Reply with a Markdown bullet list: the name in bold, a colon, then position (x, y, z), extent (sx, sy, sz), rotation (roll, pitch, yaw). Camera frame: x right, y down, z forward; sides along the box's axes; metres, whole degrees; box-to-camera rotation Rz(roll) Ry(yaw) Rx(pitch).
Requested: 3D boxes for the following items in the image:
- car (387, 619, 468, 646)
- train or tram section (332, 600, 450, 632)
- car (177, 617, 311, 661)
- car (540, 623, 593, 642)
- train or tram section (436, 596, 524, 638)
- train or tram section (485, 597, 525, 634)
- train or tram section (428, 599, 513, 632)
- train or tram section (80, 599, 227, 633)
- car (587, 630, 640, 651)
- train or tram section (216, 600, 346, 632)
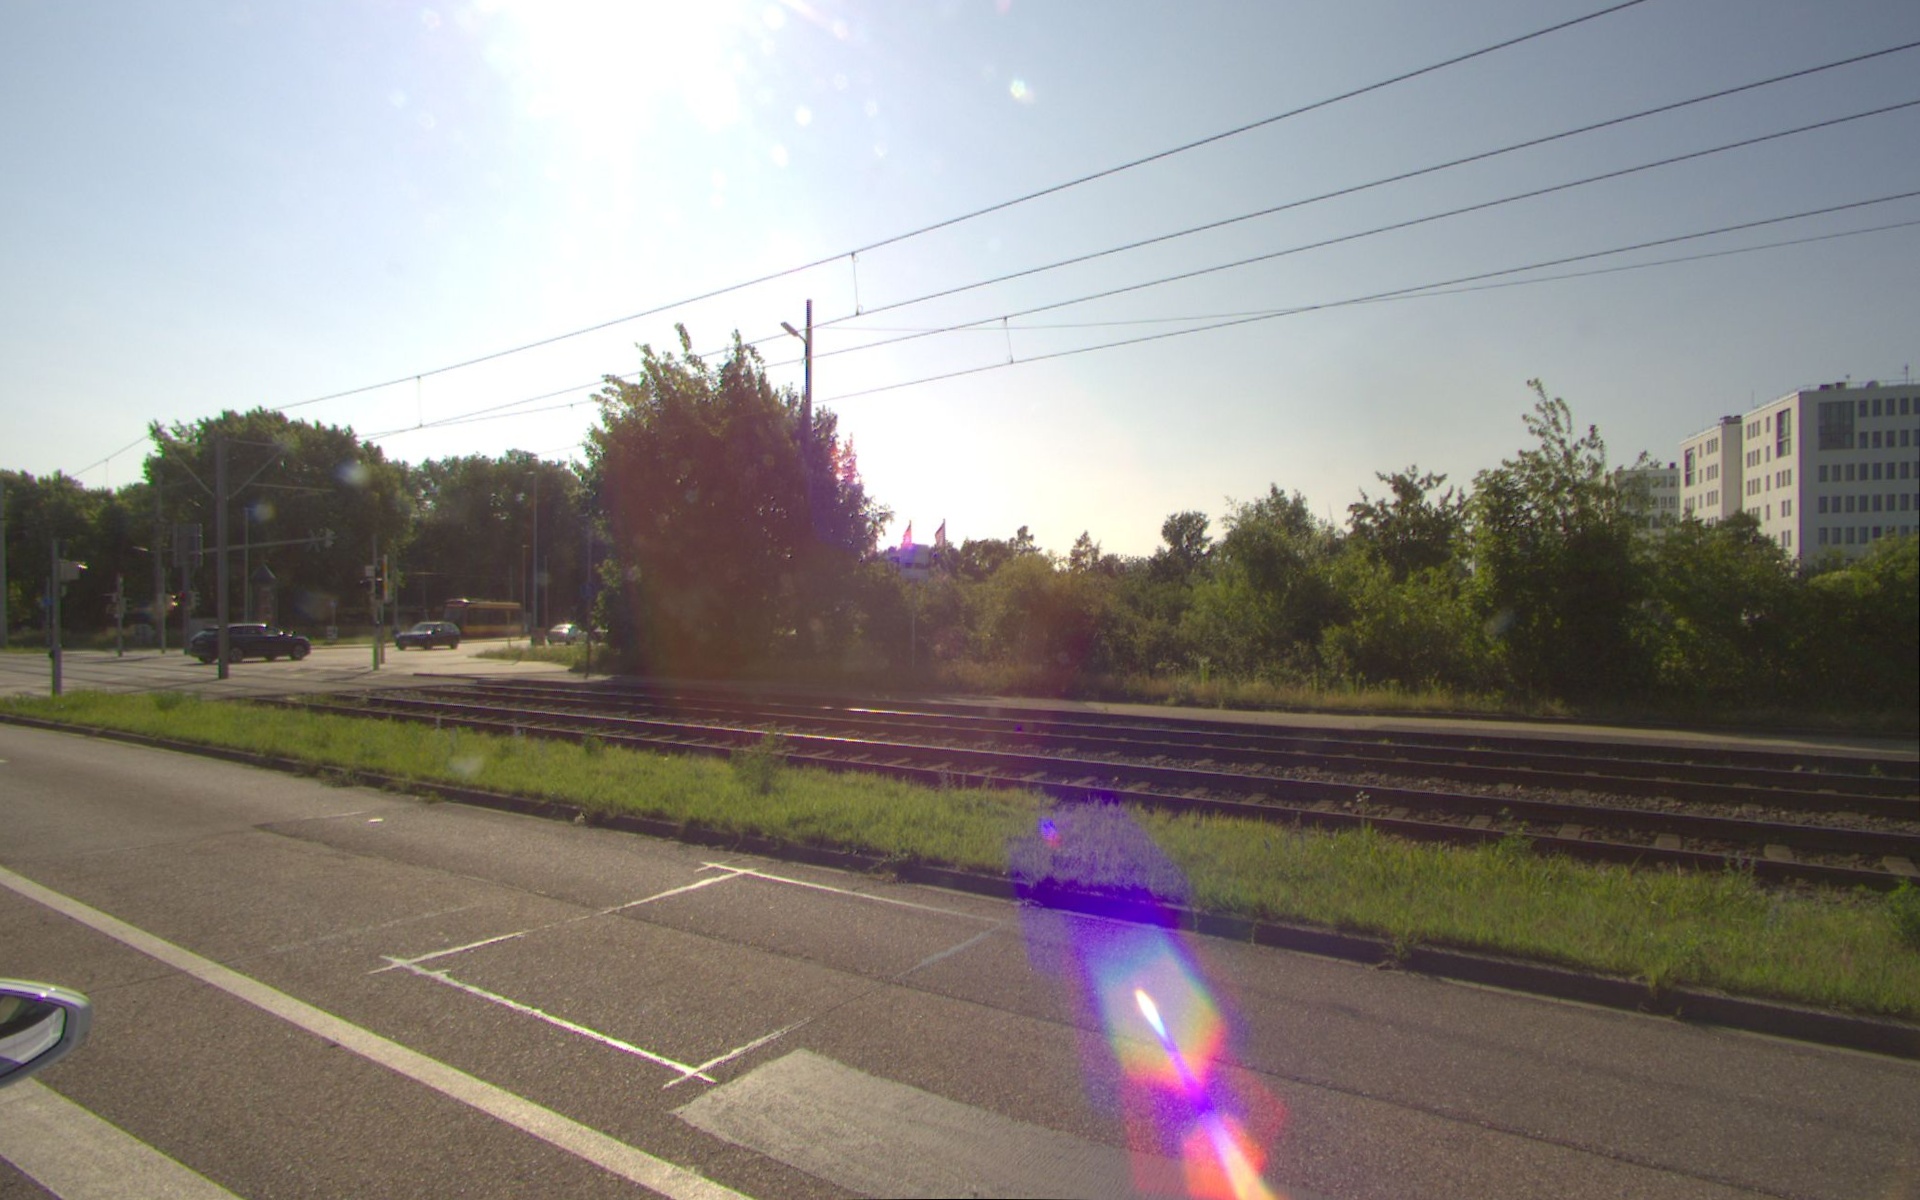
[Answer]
- **car**: position (-31.885, 1.924, 60.124), extent (2.005, 1.583, 4.863), rotation (0, -1, 5)
- **train or tram section**: position (-66.492, 1.884, 117.221), extent (11.992, 3.626, 3.054), rotation (0, -1, -1)
- **car**: position (-30.579, 1.627, 42.945), extent (1.619, 1.745, 4.615), rotation (0, 0, 18)
- **car**: position (-28.339, 2.328, 72.279), extent (1.961, 1.371, 4.410), rotation (0, -1, 2)
- **train or tram section**: position (-44.470, 1.571, 93.260), extent (2.995, 3.626, 11.853), rotation (0, -1, -3)
- **train or tram section**: position (-47.642, 1.627, 104.609), extent (3.009, 3.626, 12.174), rotation (0, -1, -28)
- **train or tram section**: position (-55.549, 1.745, 113.441), extent (12.061, 3.626, 3.037), rotation (-1, -1, 34)
- **train or tram section**: position (-88.970, 1.757, 110.806), extent (12.249, 3.626, 3.041), rotation (0, -1, -27)
- **car**: position (-24.874, 2.903, 72.079), extent (1.961, 1.371, 4.408), rotation (0, -1, 6)
- **train or tram section**: position (-78.206, 1.860, 115.619), extent (12.027, 3.626, 3.045), rotation (0, -1, -22)
